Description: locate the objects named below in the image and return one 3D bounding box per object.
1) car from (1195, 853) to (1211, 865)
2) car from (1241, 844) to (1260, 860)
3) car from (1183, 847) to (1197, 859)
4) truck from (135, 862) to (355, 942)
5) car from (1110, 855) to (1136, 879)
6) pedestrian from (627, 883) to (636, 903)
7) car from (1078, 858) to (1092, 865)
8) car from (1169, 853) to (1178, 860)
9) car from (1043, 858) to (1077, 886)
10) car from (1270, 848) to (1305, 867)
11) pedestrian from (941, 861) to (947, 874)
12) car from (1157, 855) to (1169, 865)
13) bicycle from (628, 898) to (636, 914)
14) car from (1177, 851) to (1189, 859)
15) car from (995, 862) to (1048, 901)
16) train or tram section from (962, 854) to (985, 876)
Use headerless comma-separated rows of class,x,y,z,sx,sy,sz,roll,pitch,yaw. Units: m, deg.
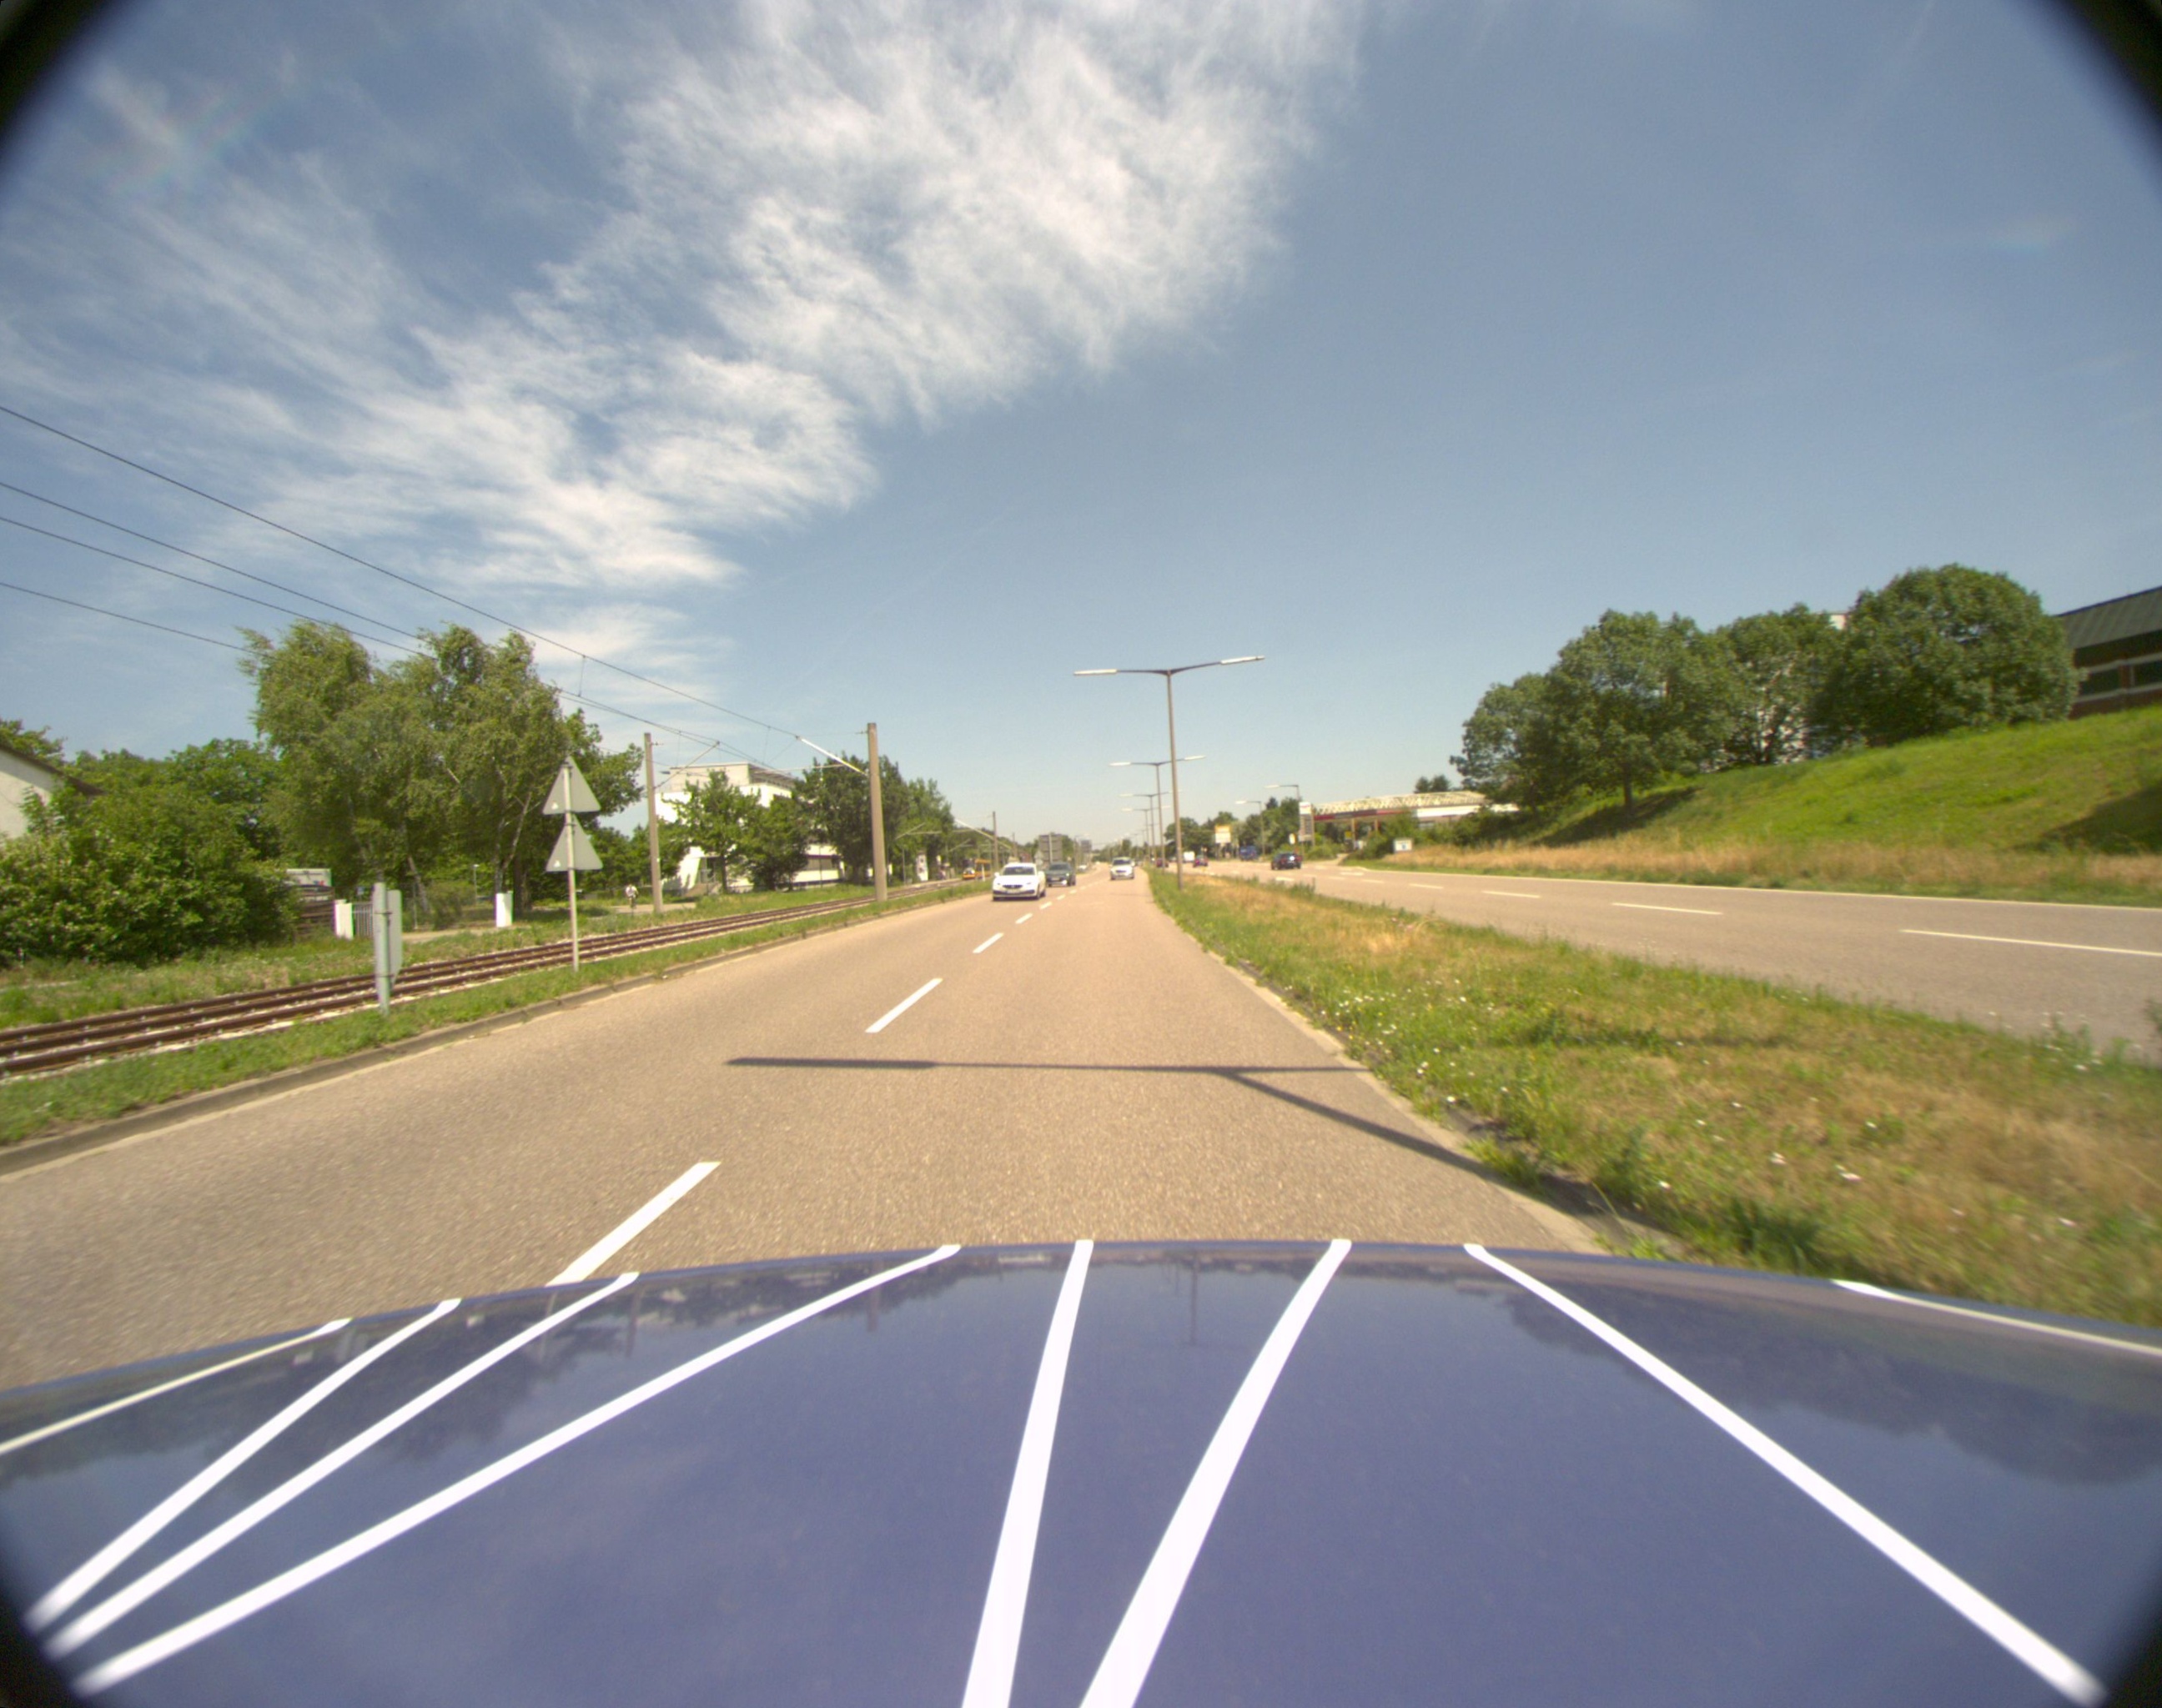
car,16.245,0.717,101.300,1.696,1.483,4.001,-3,0,3
car,28.305,-0.353,126.867,2.176,2.397,5.679,-4,0,20
car,22.352,-0.201,155.953,2.254,2.259,5.450,-5,0,4
truck,-33.208,1.835,30.368,5.857,2.827,2.319,-2,1,-4
car,3.574,1.070,65.600,1.876,1.865,5.732,-4,0,1
pedestrian,-32.247,2.823,54.550,0.459,1.395,0.583,-3,0,-33
car,1.036,1.797,186.168,1.995,1.652,4.006,-4,0,25
car,23.723,0.607,194.373,1.662,1.530,4.001,-7,0,2
car,-1.306,1.127,48.813,1.722,1.587,4.001,-3,0,4
car,16.537,0.248,61.117,1.997,1.352,4.668,-4,0,7
pedestrian,-19.756,1.942,109.795,0.696,1.831,0.711,-5,1,-12
car,13.143,1.014,121.703,1.679,1.426,4.192,-4,0,4
bicycle,-32.162,3.721,54.392,0.432,1.113,1.578,-4,0,-30
car,23.082,0.227,172.065,1.970,1.740,5.022,-3,0,1
car,-2.350,1.053,30.929,1.686,1.381,4.451,-2,0,1
train or tram section,-18.384,1.766,130.337,2.822,3.560,12.497,0,0,-3
